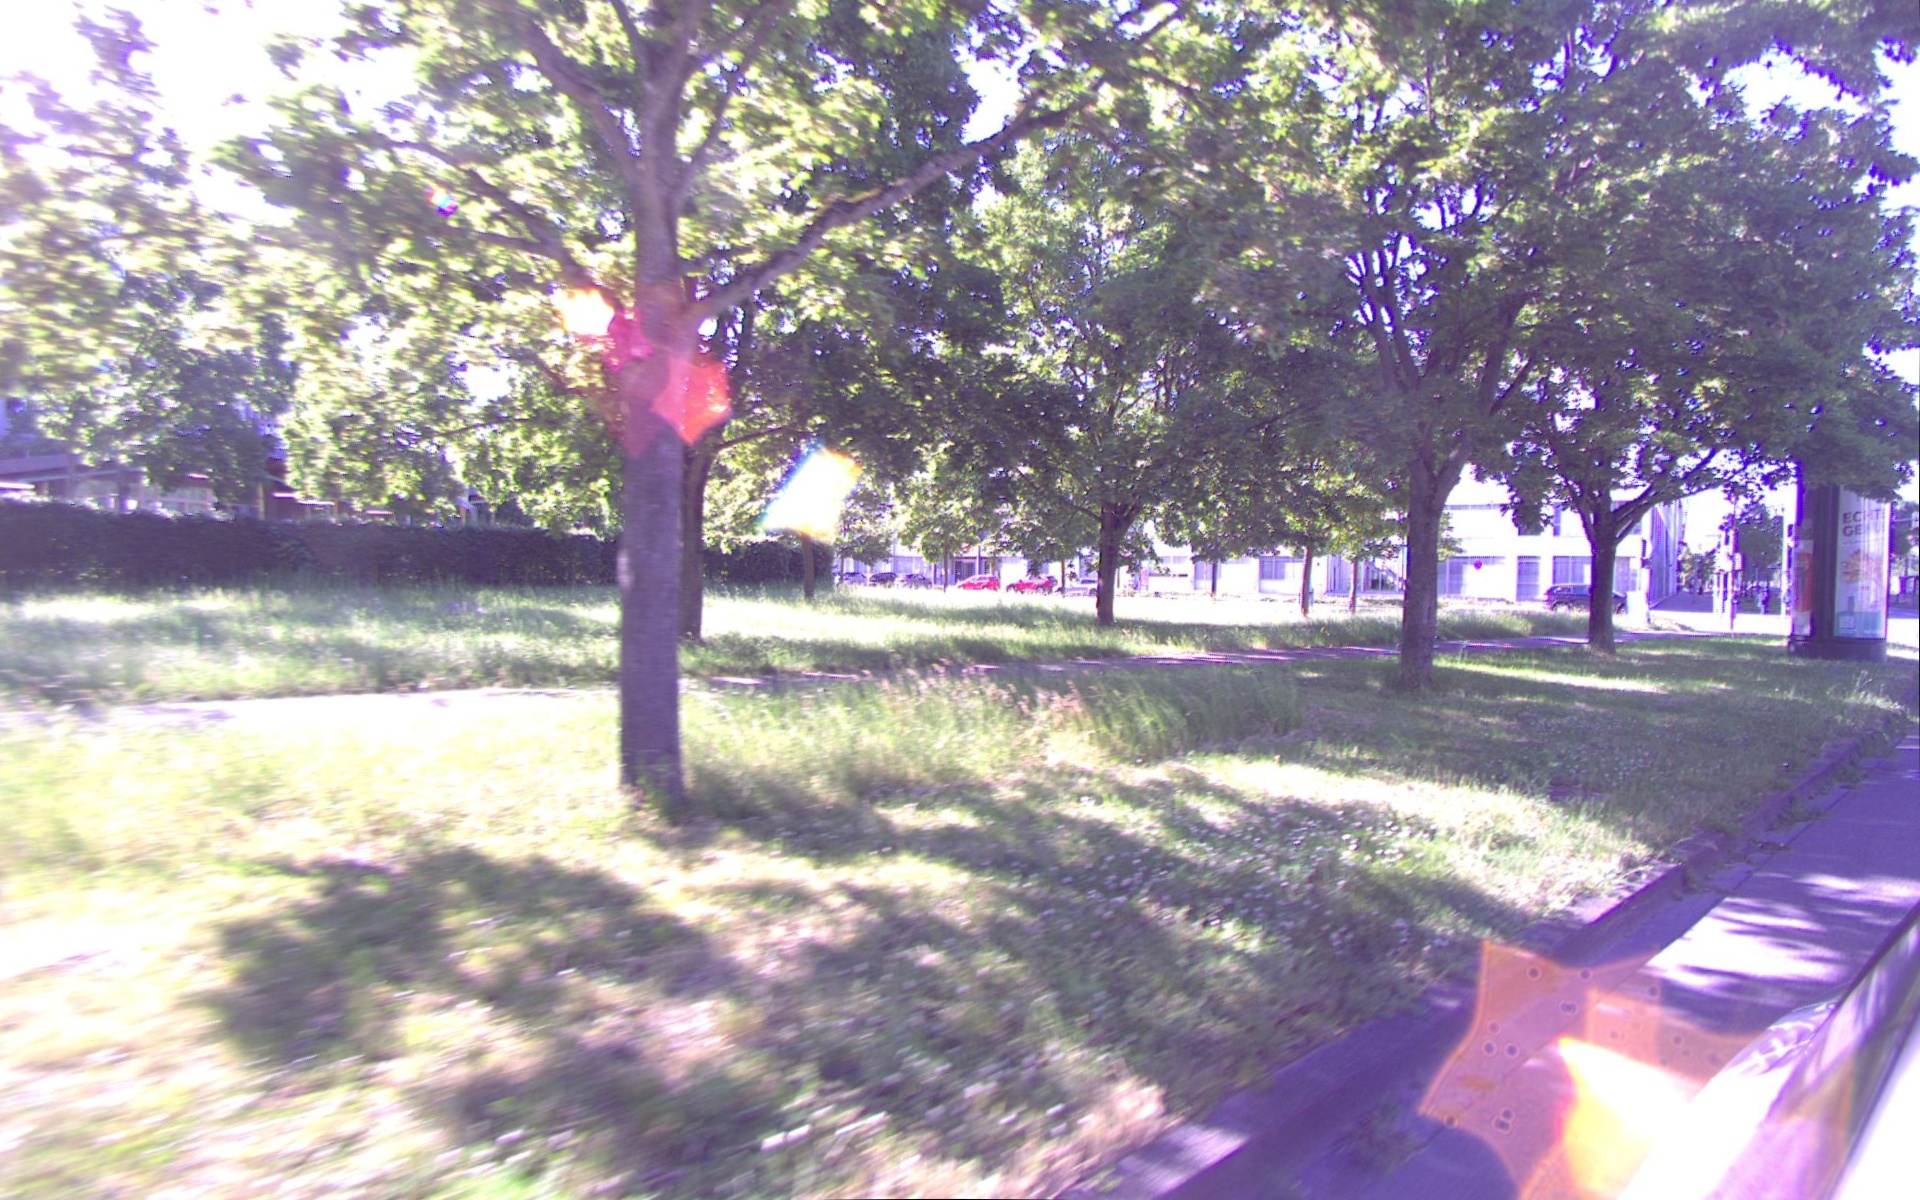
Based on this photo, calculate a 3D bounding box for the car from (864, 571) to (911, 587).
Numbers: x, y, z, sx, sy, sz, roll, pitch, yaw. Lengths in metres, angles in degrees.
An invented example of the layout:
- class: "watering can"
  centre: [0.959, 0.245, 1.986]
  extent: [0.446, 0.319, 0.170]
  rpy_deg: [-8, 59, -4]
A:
- class: "car"
  centre: [-6.350, -1.848, 89.469]
  extent: [1.907, 1.438, 4.233]
  rpy_deg: [2, 2, 35]

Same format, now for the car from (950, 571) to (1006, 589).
- class: "car"
  centre: [1.457, -1.663, 82.896]
  extent: [4.259, 1.438, 1.896]
  rpy_deg: [2, 2, 35]

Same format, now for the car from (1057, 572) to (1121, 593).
- class: "car"
  centre: [9.508, -1.297, 74.667]
  extent: [4.259, 1.438, 1.896]
  rpy_deg: [2, 2, 35]

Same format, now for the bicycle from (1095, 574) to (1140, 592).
- class: "bicycle"
  centre: [12.625, -1.383, 81.130]
  extent: [3.516, 1.365, 0.976]
  rpy_deg: [2, 1, 38]

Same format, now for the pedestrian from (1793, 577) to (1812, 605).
- class: "pedestrian"
  centre: [52.755, -0.545, 63.370]
  extent: [0.879, 1.718, 0.724]
  rpy_deg: [2, 1, 44]

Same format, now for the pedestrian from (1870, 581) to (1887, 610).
- class: "pedestrian"
  centre: [54.448, -0.258, 59.988]
  extent: [0.730, 1.718, 0.724]
  rpy_deg: [2, 1, 44]

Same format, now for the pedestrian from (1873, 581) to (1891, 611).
- class: "pedestrian"
  centre: [53.876, -0.238, 59.141]
  extent: [0.730, 1.718, 0.724]
  rpy_deg: [2, 1, 44]

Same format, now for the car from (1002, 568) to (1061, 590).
- class: "car"
  centre: [5.639, -1.668, 79.857]
  extent: [4.259, 1.614, 1.896]
  rpy_deg: [2, 1, 35]

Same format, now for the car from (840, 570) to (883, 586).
- class: "car"
  centre: [-8.929, -1.979, 91.841]
  extent: [1.650, 1.438, 3.959]
  rpy_deg: [2, 2, 35]

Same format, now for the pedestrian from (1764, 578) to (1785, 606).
- class: "pedestrian"
  centre: [49.653, -0.477, 61.686]
  extent: [0.720, 1.718, 0.734]
  rpy_deg: [0, 1, -31]

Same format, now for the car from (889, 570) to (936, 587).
- class: "car"
  centre: [-4.092, -1.843, 87.770]
  extent: [1.907, 1.438, 4.233]
  rpy_deg: [2, 2, 35]

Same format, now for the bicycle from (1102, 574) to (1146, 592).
- class: "bicycle"
  centre: [13.261, -1.403, 81.954]
  extent: [3.516, 1.365, 0.976]
  rpy_deg: [2, 1, 38]

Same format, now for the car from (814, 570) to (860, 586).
- class: "car"
  centre: [-11.387, -2.068, 93.945]
  extent: [1.907, 1.438, 4.233]
  rpy_deg: [2, 2, 35]

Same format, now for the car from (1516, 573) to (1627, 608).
- class: "car"
  centre: [30.969, -0.507, 51.328]
  extent: [4.609, 1.642, 1.972]
  rpy_deg: [2, 2, 39]
